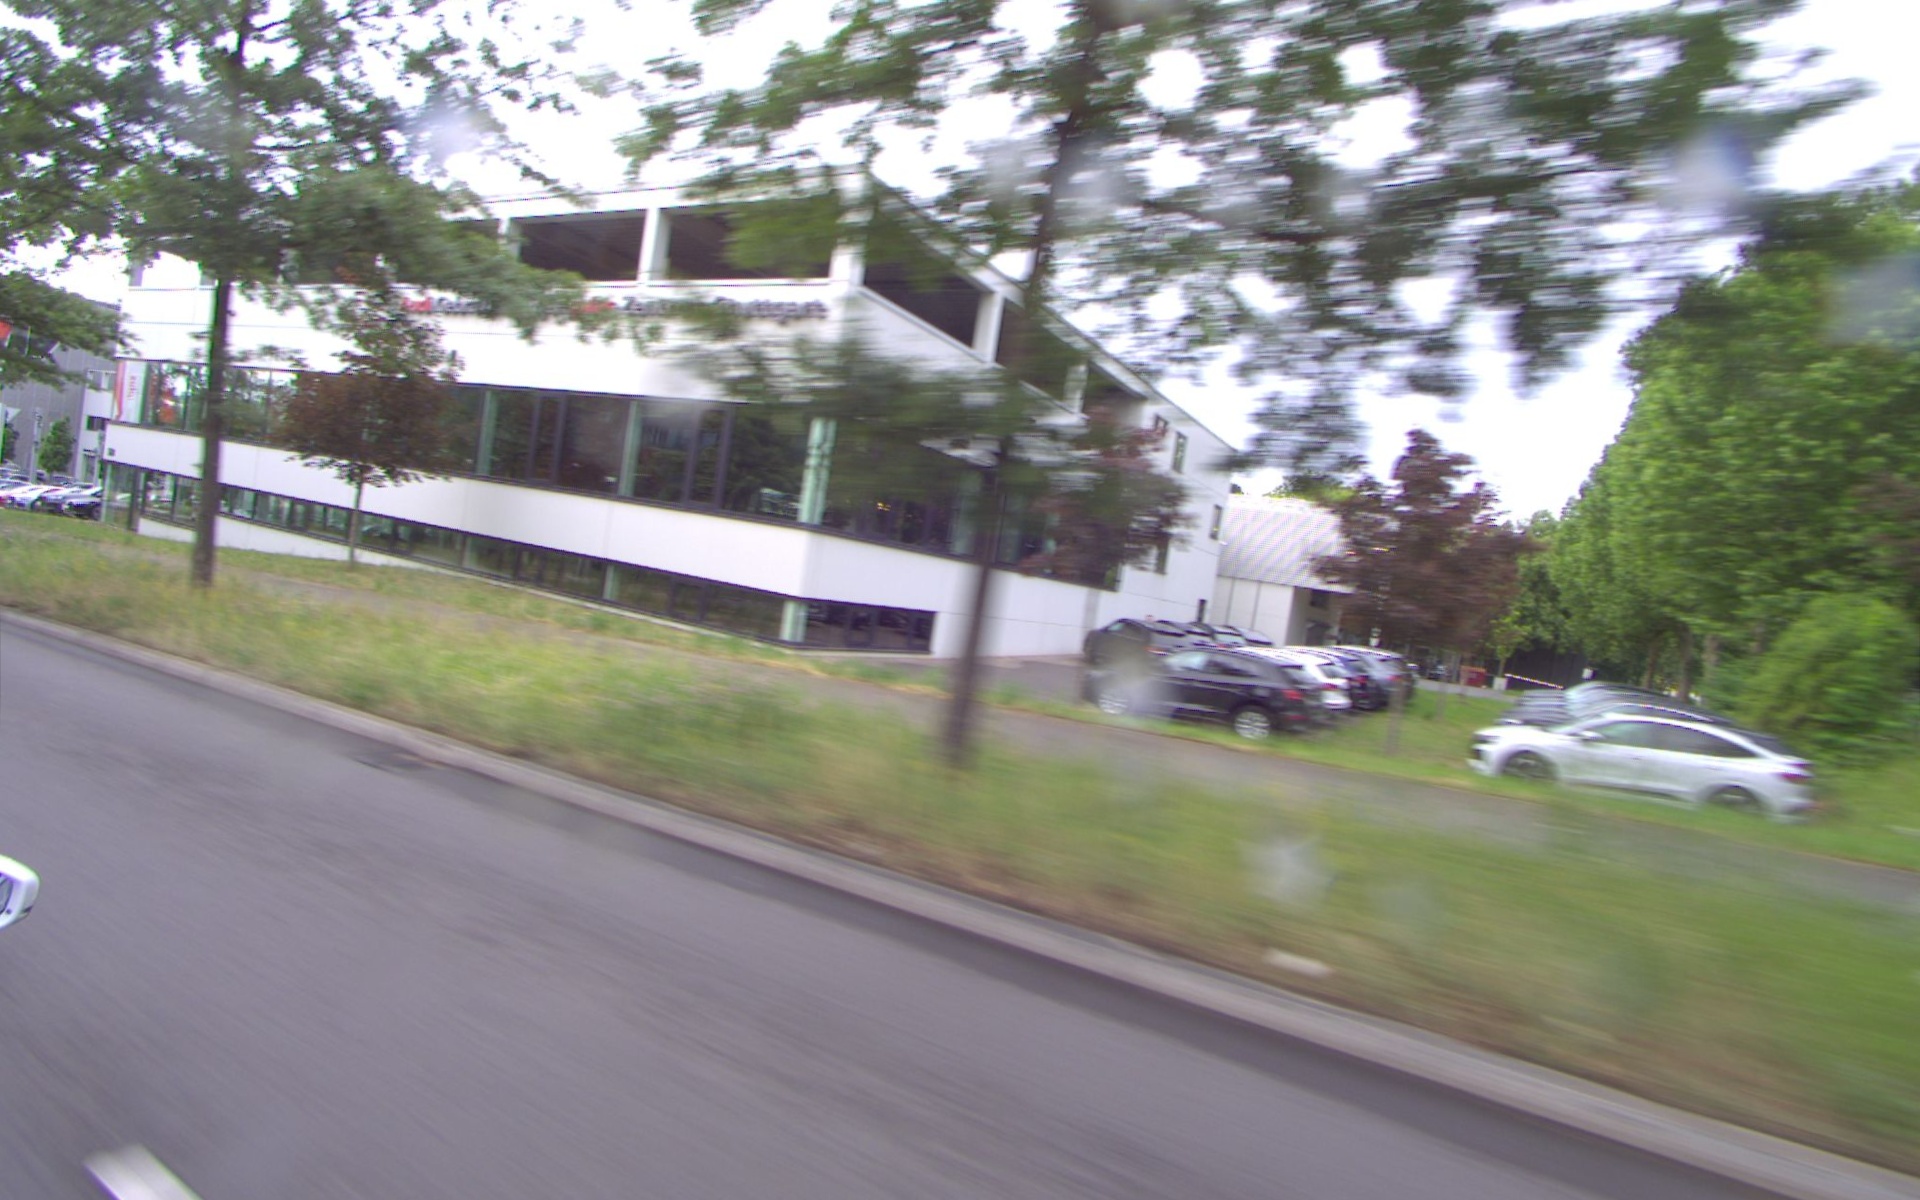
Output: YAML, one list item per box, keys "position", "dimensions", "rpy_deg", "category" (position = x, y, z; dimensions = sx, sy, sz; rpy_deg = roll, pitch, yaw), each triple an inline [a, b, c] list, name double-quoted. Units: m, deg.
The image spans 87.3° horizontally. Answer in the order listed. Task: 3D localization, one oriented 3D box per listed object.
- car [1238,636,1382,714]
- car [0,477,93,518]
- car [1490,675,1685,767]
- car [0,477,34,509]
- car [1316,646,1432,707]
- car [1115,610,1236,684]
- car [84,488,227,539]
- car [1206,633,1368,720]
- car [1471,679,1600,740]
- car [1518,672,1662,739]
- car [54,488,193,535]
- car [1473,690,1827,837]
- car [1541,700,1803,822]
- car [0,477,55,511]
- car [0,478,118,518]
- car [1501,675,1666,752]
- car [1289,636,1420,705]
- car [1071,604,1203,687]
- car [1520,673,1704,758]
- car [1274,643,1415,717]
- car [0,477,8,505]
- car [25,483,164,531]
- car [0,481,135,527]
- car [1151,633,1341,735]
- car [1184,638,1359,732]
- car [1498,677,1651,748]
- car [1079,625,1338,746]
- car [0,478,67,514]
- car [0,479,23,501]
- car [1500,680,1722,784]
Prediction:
- position: [9.900, 2.064, 28.468]
  dimensions: [3.462, 1.698, 1.698]
  rpy_deg: [6, 2, 30]
  category: "car"
- position: [-47.338, -5.284, 51.178]
  dimensions: [1.898, 1.473, 4.469]
  rpy_deg: [6, -1, 30]
  category: "car"
- position: [14.382, 2.761, 23.281]
  dimensions: [3.581, 1.501, 1.701]
  rpy_deg: [6, -2, 30]
  category: "car"
- position: [-54.644, -6.191, 55.759]
  dimensions: [1.898, 1.570, 4.467]
  rpy_deg: [6, 0, 30]
  category: "car"
- position: [15.078, 2.768, 36.685]
  dimensions: [3.581, 1.695, 1.701]
  rpy_deg: [6, -2, 30]
  category: "car"
- position: [7.358, 1.562, 34.836]
  dimensions: [1.681, 1.698, 4.502]
  rpy_deg: [8, 3, -22]
  category: "car"
- position: [-34.940, -3.712, 43.808]
  dimensions: [1.898, 1.499, 4.405]
  rpy_deg: [6, -1, 30]
  category: "car"
- position: [8.503, 1.979, 26.203]
  dimensions: [3.581, 1.694, 1.703]
  rpy_deg: [6, -3, 30]
  category: "car"
- position: [19.495, 3.697, 34.206]
  dimensions: [3.581, 1.501, 1.701]
  rpy_deg: [6, -2, 30]
  category: "car"
- position: [19.586, 3.282, 31.453]
  dimensions: [3.581, 1.501, 1.701]
  rpy_deg: [6, -2, 30]
  category: "car"
- position: [-37.164, -3.907, 44.802]
  dimensions: [1.805, 1.395, 4.326]
  rpy_deg: [6, 0, 28]
  category: "car"
- position: [10.875, 2.533, 16.272]
  dimensions: [4.386, 1.501, 1.701]
  rpy_deg: [6, -2, 30]
  category: "car"
- position: [12.631, 2.816, 18.146]
  dimensions: [3.581, 1.501, 1.701]
  rpy_deg: [6, -2, 30]
  category: "car"
- position: [-52.125, -5.898, 54.286]
  dimensions: [1.898, 1.547, 4.467]
  rpy_deg: [6, 0, 30]
  category: "car"
- position: [-44.666, -5.020, 49.599]
  dimensions: [1.898, 1.365, 4.402]
  rpy_deg: [6, 0, 30]
  category: "car"
- position: [16.767, 3.036, 27.242]
  dimensions: [3.581, 1.501, 1.701]
  rpy_deg: [6, -2, 30]
  category: "car"
- position: [12.712, 2.264, 32.434]
  dimensions: [3.581, 1.695, 1.701]
  rpy_deg: [6, -2, 30]
  category: "car"
- position: [5.338, 1.339, 30.990]
  dimensions: [1.681, 1.698, 4.502]
  rpy_deg: [8, 3, -22]
  category: "car"
- position: [16.008, 2.833, 24.910]
  dimensions: [3.581, 1.501, 1.701]
  rpy_deg: [6, -2, 30]
  category: "car"
- position: [11.532, 2.397, 30.165]
  dimensions: [3.581, 1.695, 1.701]
  rpy_deg: [6, -2, 30]
  category: "car"
- position: [-57.170, -6.540, 56.986]
  dimensions: [1.795, 1.613, 4.285]
  rpy_deg: [6, -1, 28]
  category: "car"
- position: [-39.917, -4.258, 46.514]
  dimensions: [2.006, 1.519, 4.402]
  rpy_deg: [6, 0, 30]
  category: "car"
- position: [-42.324, -4.531, 47.828]
  dimensions: [1.859, 1.445, 4.402]
  rpy_deg: [6, 0, 30]
  category: "car"
- position: [6.281, 1.775, 22.130]
  dimensions: [3.581, 1.698, 1.699]
  rpy_deg: [6, 2, 30]
  category: "car"
- position: [7.455, 1.970, 24.125]
  dimensions: [3.581, 1.698, 1.698]
  rpy_deg: [6, 2, 30]
  category: "car"
- position: [17.848, 3.252, 29.391]
  dimensions: [3.581, 1.501, 1.701]
  rpy_deg: [6, -2, 30]
  category: "car"
- position: [4.885, 1.614, 19.968]
  dimensions: [4.512, 1.697, 1.905]
  rpy_deg: [6, 1, 30]
  category: "car"
- position: [-49.952, -5.578, 52.589]
  dimensions: [1.898, 1.474, 4.467]
  rpy_deg: [6, 0, 30]
  category: "car"
- position: [-80.826, -9.408, 83.441]
  dimensions: [1.664, 1.593, 4.112]
  rpy_deg: [7, -1, 30]
  category: "car"
- position: [13.264, 2.660, 20.751]
  dimensions: [3.581, 1.501, 1.701]
  rpy_deg: [6, -2, 30]
  category: "car"
